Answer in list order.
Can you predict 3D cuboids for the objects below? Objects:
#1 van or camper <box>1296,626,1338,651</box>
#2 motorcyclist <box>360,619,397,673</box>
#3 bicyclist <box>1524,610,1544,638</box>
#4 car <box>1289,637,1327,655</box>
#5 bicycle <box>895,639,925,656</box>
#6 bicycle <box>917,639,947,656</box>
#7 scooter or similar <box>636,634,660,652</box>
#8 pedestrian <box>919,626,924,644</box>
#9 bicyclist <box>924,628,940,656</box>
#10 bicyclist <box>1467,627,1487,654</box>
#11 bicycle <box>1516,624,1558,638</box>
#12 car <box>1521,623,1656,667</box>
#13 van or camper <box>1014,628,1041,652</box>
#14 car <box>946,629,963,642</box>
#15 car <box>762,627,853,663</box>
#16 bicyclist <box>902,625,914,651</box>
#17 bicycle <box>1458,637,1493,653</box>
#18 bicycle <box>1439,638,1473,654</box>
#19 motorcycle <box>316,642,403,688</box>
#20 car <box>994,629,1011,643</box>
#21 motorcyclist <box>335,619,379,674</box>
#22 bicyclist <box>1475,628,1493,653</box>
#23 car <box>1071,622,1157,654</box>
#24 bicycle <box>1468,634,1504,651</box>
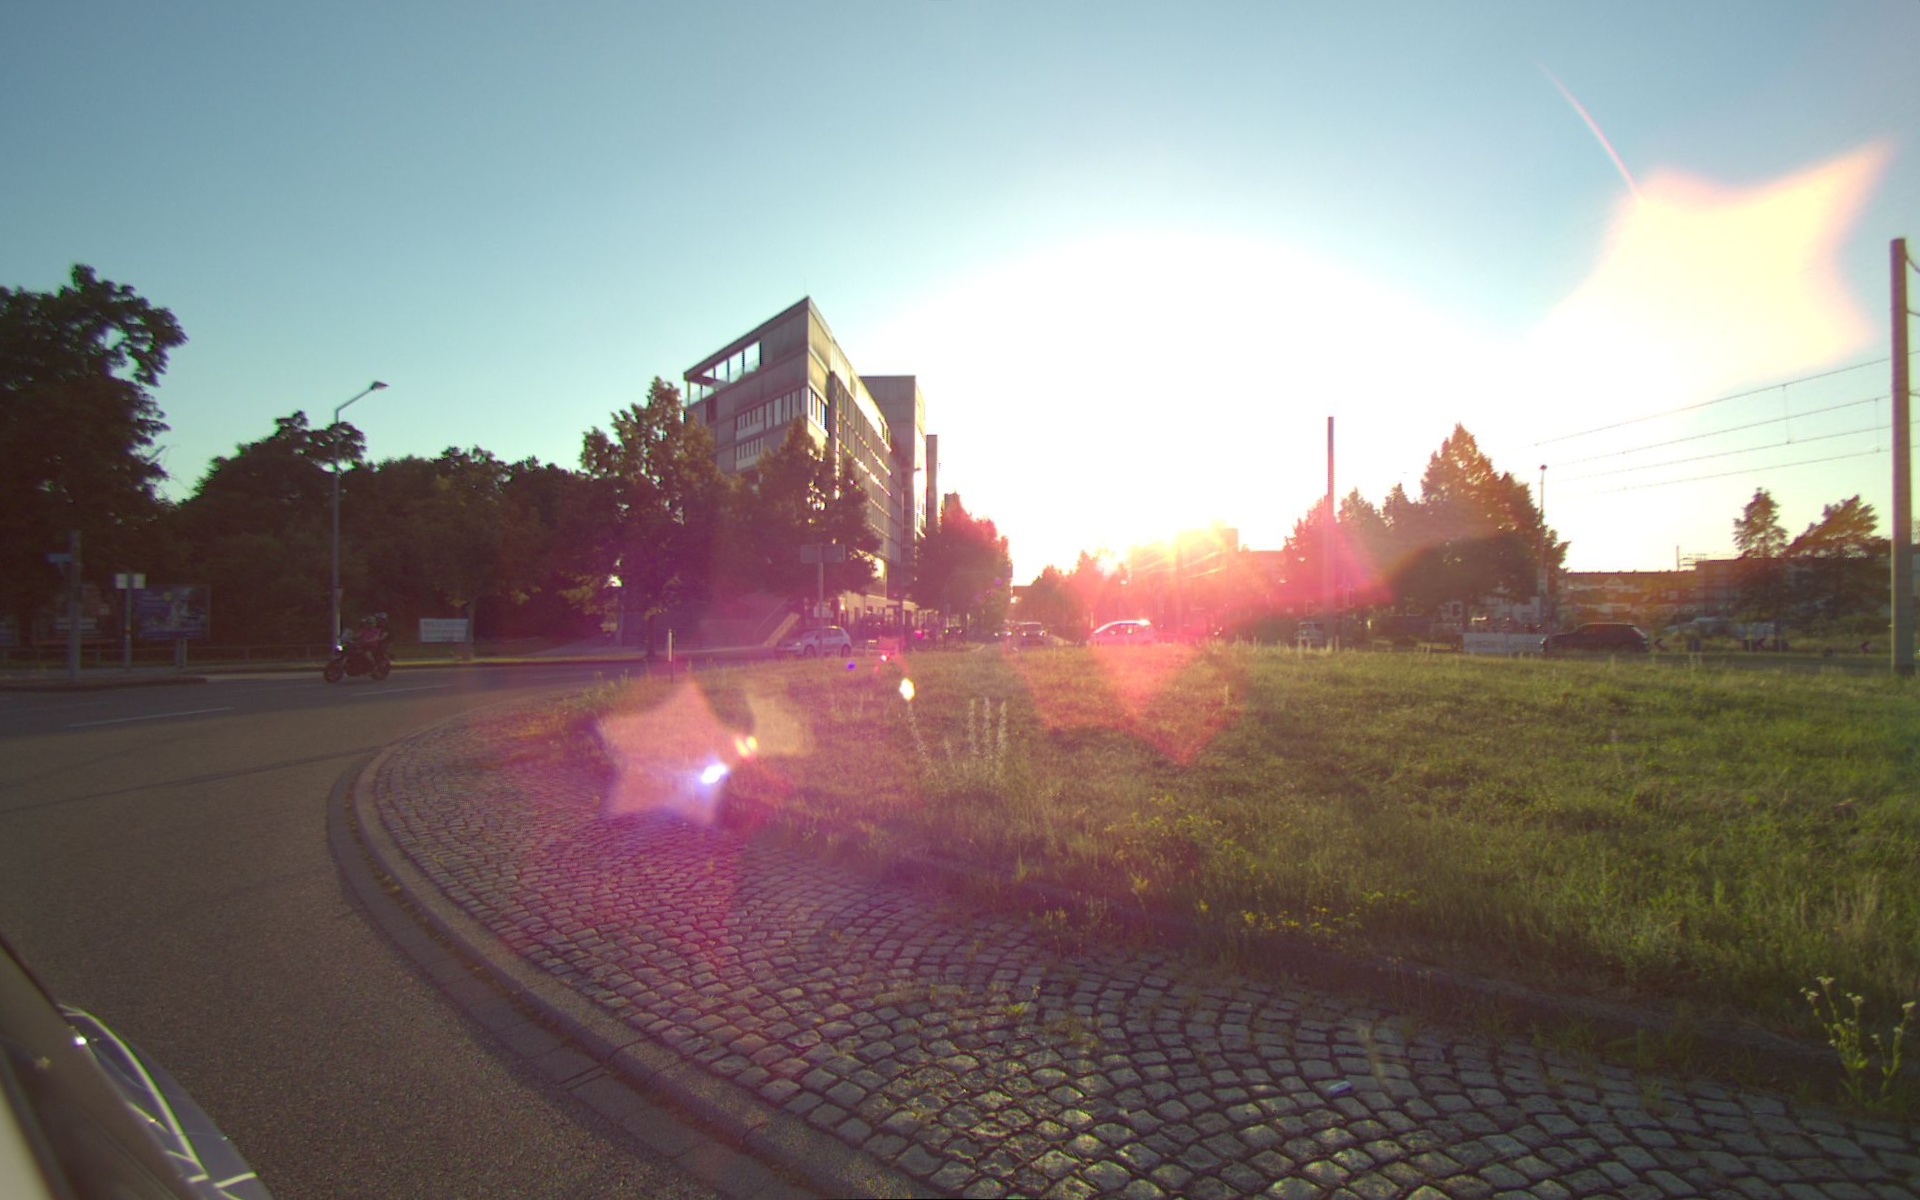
[{"bbox_3d":[28.919,3.146,82.102,1.891,2.025,5.293,-1,-3,5],"label":"van or camper"},{"bbox_3d":[-15.527,1.225,27.012,0.631,1.419,0.591,-1,-1,18],"label":"motorcyclist"},{"bbox_3d":[34.263,1.437,60.425,0.684,1.646,0.800,1,-3,-38],"label":"bicyclist"},{"bbox_3d":[25.585,3.360,74.440,1.558,1.265,3.778,-2,-2,2],"label":"car"},{"bbox_3d":[-3.115,2.970,62.765,1.834,1.030,0.308,0,-2,-6],"label":"bicycle"},{"bbox_3d":[-1.776,3.044,64.774,1.843,1.030,0.436,-1,-2,11],"label":"bicycle"},{"bbox_3d":[-20.826,2.888,67.628,1.561,1.229,0.365,-1,-2,14],"label":"scooter or similar"},{"bbox_3d":[-4.661,4.191,121.210,0.532,2.029,0.527,-1,-2,2],"label":"pedestrian"},{"bbox_3d":[-1.778,2.652,64.430,0.840,1.769,0.801,-1,-2,10],"label":"bicyclist"},{"bbox_3d":[31.959,2.484,62.594,0.805,1.653,0.813,-1,-2,6],"label":"bicyclist"},{"bbox_3d":[34.408,1.849,60.331,0.504,0.852,2.140,1,-3,-38],"label":"bicycle"},{"bbox_3d":[26.442,1.871,42.651,4.596,1.761,1.727,-2,-3,42],"label":"car"},{"bbox_3d":[5.970,3.521,89.138,1.977,1.972,5.314,-1,-1,8],"label":"van or camper"},{"bbox_3d":[-0.607,4.071,115.825,1.779,1.475,3.996,0,-2,3],"label":"car"},{"bbox_3d":[-6.829,1.991,45.691,1.888,1.492,4.004,-1,-1,34],"label":"car"},{"bbox_3d":[-3.235,2.361,62.999,0.674,1.660,0.685,0,-2,-6],"label":"bicyclist"},{"bbox_3d":[31.906,2.796,62.651,1.821,0.988,0.549,-1,-2,7],"label":"bicycle"},{"bbox_3d":[31.534,2.946,64.312,1.821,0.988,0.549,-1,-2,7],"label":"bicycle"},{"bbox_3d":[-15.671,1.673,26.480,0.553,1.109,2.148,-1,-1,17],"label":"motorcycle"},{"bbox_3d":[4.566,3.874,109.487,1.779,1.475,3.996,0,-2,3],"label":"car"},{"bbox_3d":[-15.713,1.204,26.370,0.683,1.427,0.710,-1,-1,18],"label":"motorcyclist"},{"bbox_3d":[31.813,2.453,61.464,0.805,1.517,0.591,-1,-2,7],"label":"bicyclist"},{"bbox_3d":[7.184,1.787,47.366,3.654,1.476,1.608,0,-2,-5],"label":"car"},{"bbox_3d":[31.934,2.579,61.435,1.821,0.988,0.536,-1,-2,7],"label":"bicycle"}]
